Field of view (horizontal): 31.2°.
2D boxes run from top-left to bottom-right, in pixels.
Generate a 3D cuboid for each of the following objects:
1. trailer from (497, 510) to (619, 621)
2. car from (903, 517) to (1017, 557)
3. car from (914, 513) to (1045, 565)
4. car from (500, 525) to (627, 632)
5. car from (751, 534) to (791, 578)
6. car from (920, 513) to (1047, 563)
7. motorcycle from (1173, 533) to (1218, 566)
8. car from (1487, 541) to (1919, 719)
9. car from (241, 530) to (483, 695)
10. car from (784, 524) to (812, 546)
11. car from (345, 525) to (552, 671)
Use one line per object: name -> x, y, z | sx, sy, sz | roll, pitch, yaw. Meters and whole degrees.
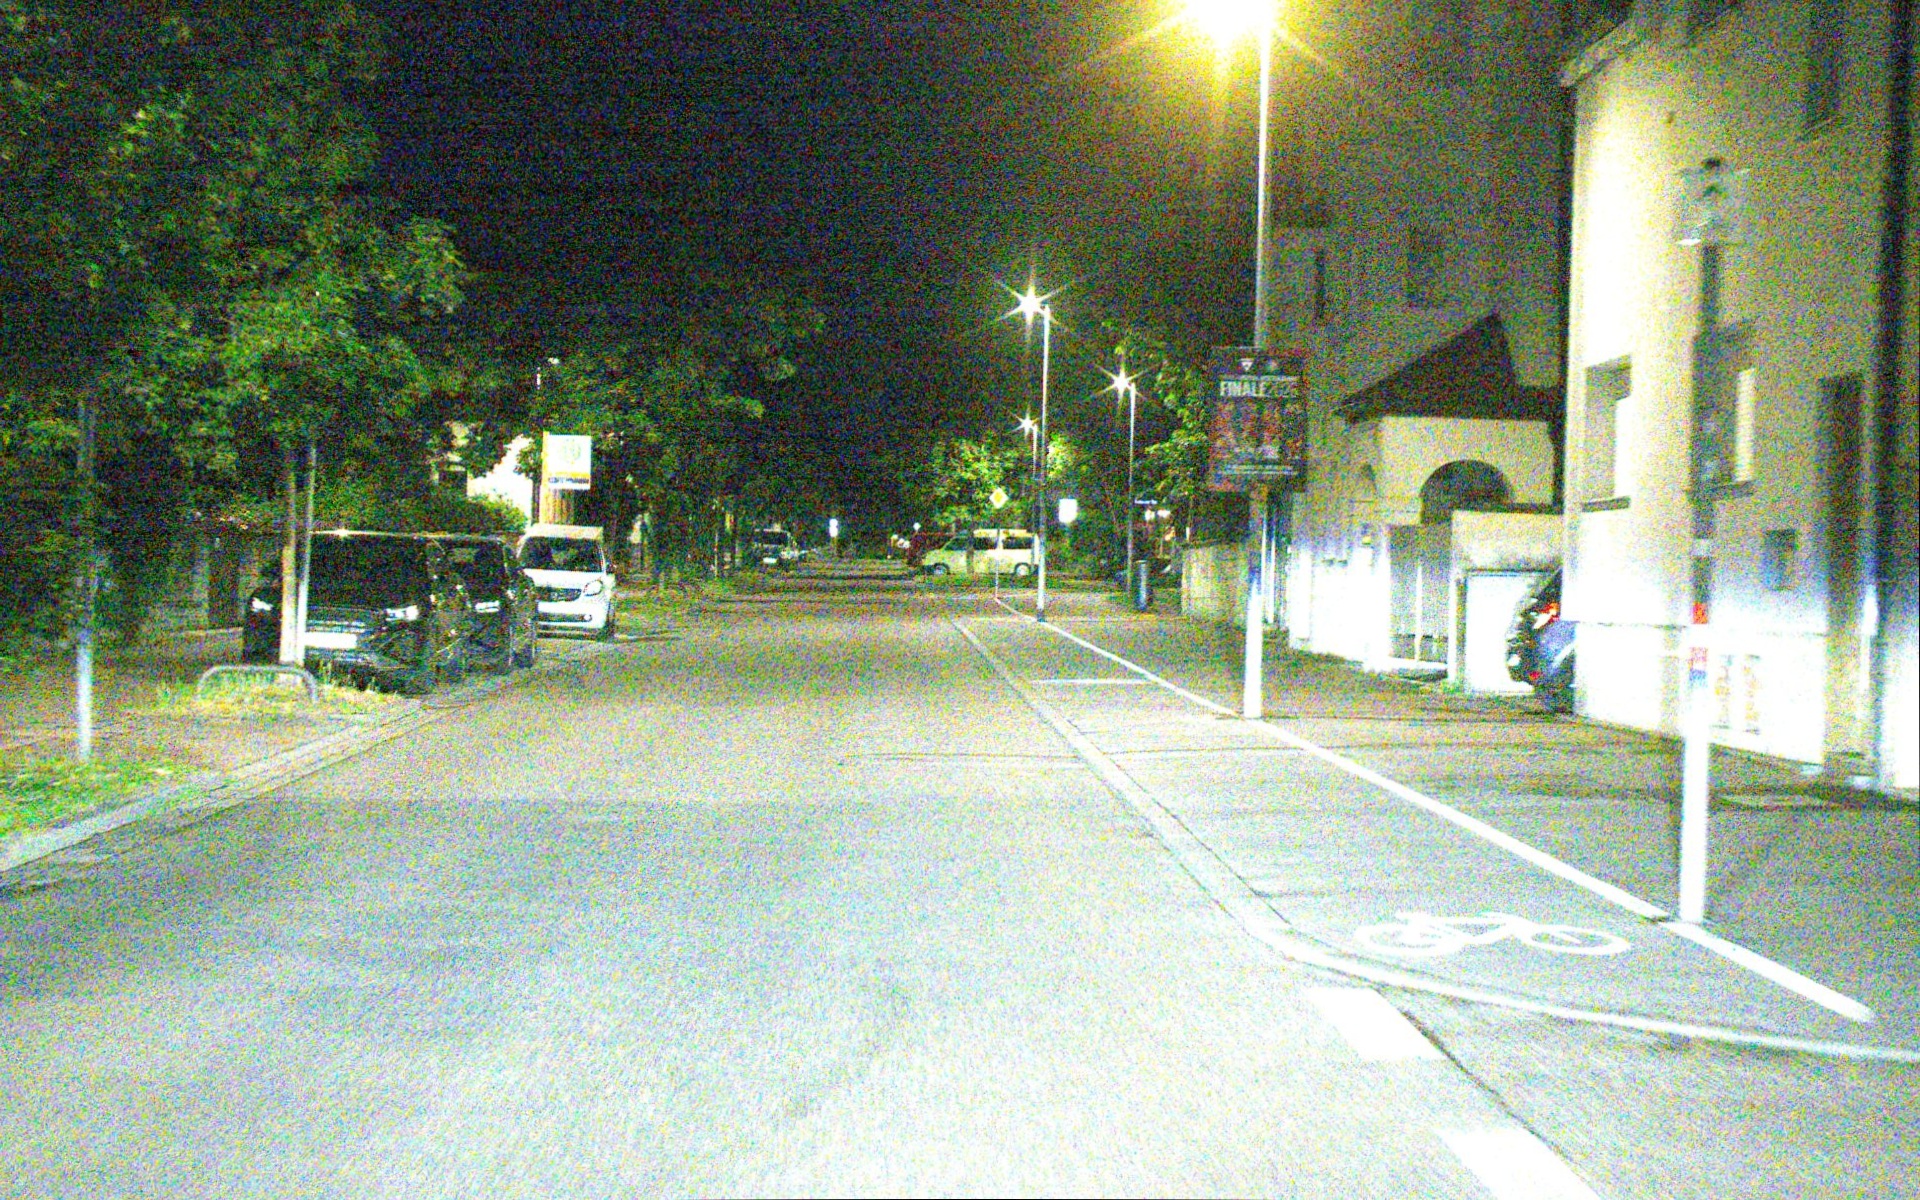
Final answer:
trailer -> -6.558, -0.579, 56.338 | 1.448, 1.682, 3.426 | 3, 1, 1
car -> 0.013, -3.023, 164.287 | 5.184, 1.880, 2.101 | 0, 1, 8
car -> 0.763, -2.481, 139.528 | 5.182, 2.007, 2.102 | -1, 1, -2
car -> -6.105, -0.354, 53.172 | 1.671, 1.516, 2.979 | 3, 1, -3
car -> -8.957, -2.104, 163.171 | 1.824, 1.980, 4.466 | 3, 0, -3
car -> 0.954, -2.573, 142.596 | 5.182, 2.007, 2.102 | -1, 1, -2
motorcycle -> 9.989, -2.147, 145.673 | 1.071, 1.322, 2.704 | 2, 2, 22
car -> 6.686, 0.250, 30.646 | 3.711, 1.468, 1.730 | 1, 1, 2
car -> -5.847, 0.071, 34.047 | 1.688, 1.505, 4.279 | 1, 1, -1
car -> -9.972, -4.013, 212.135 | 1.683, 1.326, 3.600 | 1, 1, -3
car -> -5.761, -0.067, 39.156 | 1.766, 1.514, 4.279 | 2, 1, -1
